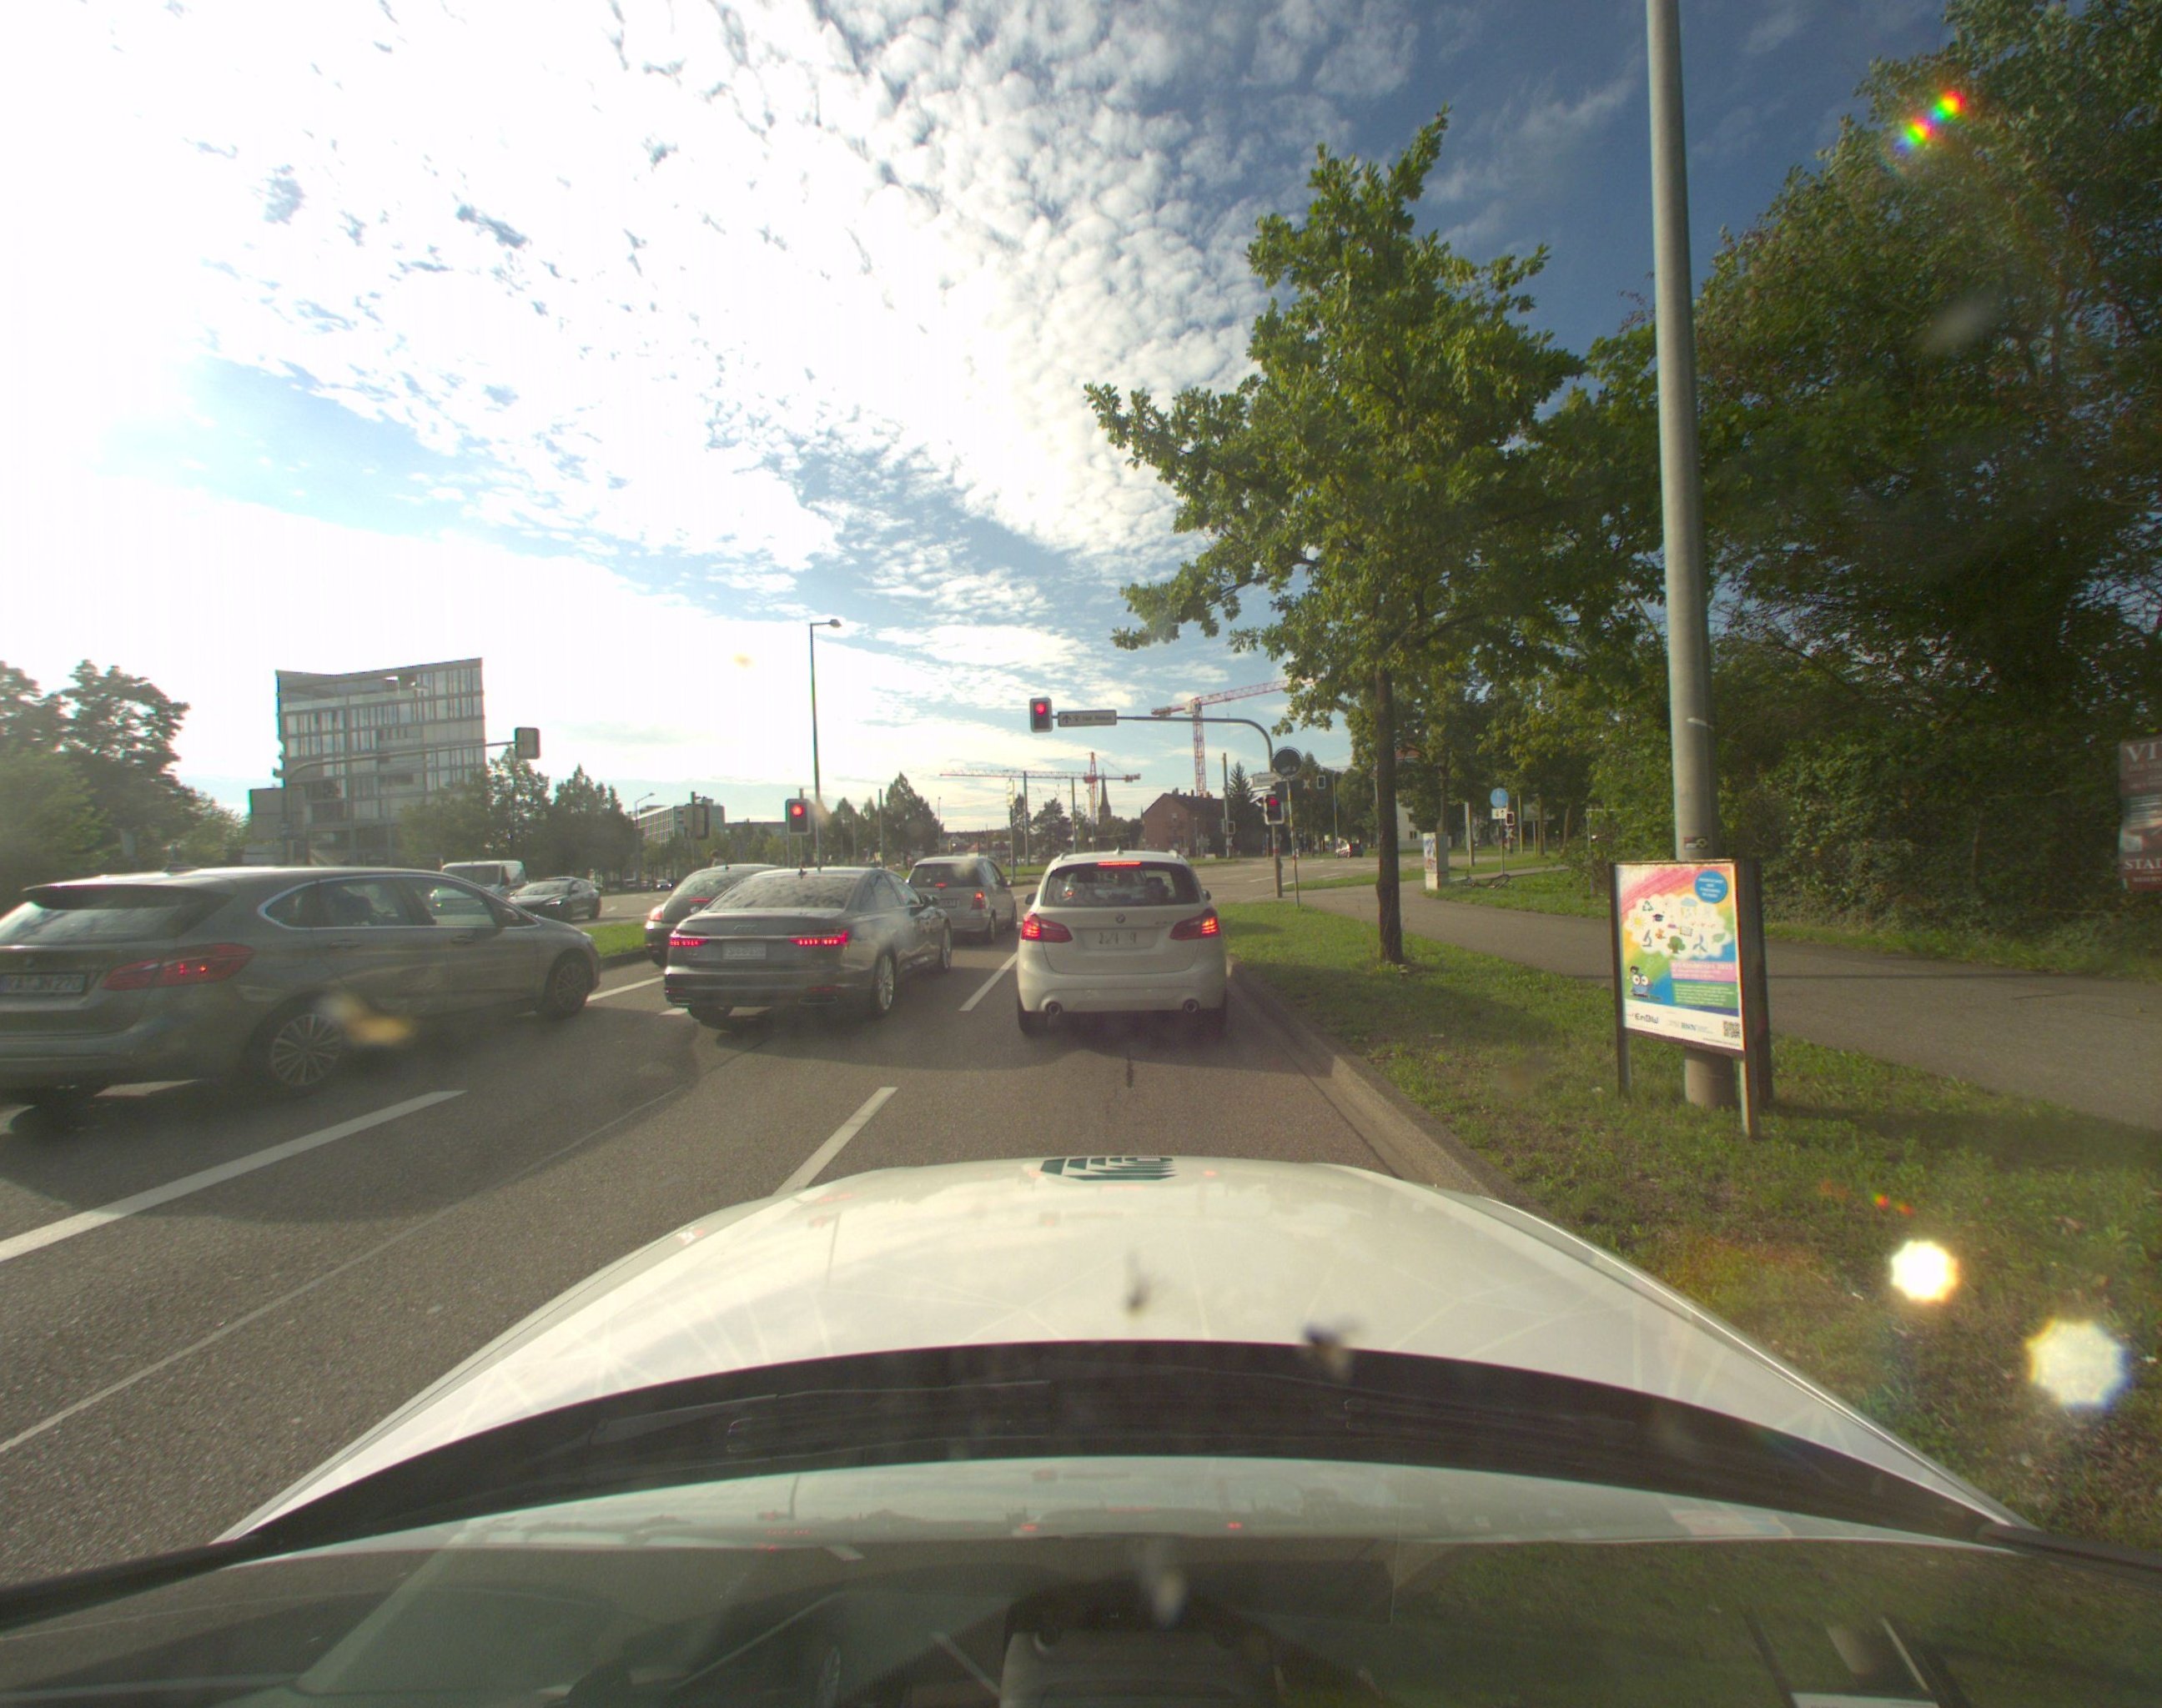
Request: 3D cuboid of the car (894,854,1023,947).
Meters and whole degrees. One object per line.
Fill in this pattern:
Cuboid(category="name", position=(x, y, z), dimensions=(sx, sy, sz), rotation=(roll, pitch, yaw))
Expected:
Cuboid(category="car", position=(-2.227, 0.791, 15.900), dimensions=(1.722, 1.558, 4.060), rotation=(-1, 0, 2))

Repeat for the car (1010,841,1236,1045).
Cuboid(category="car", position=(0.385, 0.696, 8.364), dimensions=(1.723, 1.558, 4.059), rotation=(-1, 0, 2))

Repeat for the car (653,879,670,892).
Cuboid(category="car", position=(-50.986, 3.800, 99.013), dimensions=(1.600, 1.415, 3.639), rotation=(-3, 0, -25))

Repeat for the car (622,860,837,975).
Cuboid(category="car", position=(-5.391, 0.882, 13.063), dimensions=(1.674, 1.523, 3.811), rotation=(-1, 0, 1))

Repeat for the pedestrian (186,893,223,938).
Cuboid(category="pedestrian", position=(-32.128, 2.250, 29.850), dimensions=(0.654, 1.569, 0.614), rotation=(-2, -1, -5))

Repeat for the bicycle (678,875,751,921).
Cuboid(category="bicycle", position=(-10.145, 1.201, 22.611), dimensions=(1.728, 1.163, 0.652), rotation=(-2, -1, -15))

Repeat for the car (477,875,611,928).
Cuboid(category="car", position=(-17.313, 1.472, 26.529), dimensions=(1.899, 1.410, 4.196), rotation=(-4, -1, -8))

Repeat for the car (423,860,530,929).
Cuboid(category="car", position=(-22.655, 1.472, 30.788), dimensions=(2.004, 2.235, 5.874), rotation=(-4, 0, -25))

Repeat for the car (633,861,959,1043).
Cuboid(category="car", position=(-2.742, 0.845, 9.126), dimensions=(1.883, 1.483, 4.614), rotation=(-1, -1, 2))

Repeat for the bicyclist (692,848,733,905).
Cuboid(category="bicyclist", position=(-10.213, 0.616, 22.611), dimensions=(0.850, 1.526, 0.737), rotation=(-3, -1, -15))

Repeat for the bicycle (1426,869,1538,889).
Cuboid(category="bicycle", position=(10.506, 0.643, 21.492), dimensions=(1.407, 0.385, 2.568), rotation=(-3, 0, -9))

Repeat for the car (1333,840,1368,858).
Cuboid(category="car", position=(27.286, -0.521, 82.621), dimensions=(1.577, 1.574, 3.173), rotation=(-4, 0, -23))

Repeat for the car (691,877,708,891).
Cuboid(category="car", position=(-44.590, 3.493, 95.246), dimensions=(1.623, 1.464, 3.701), rotation=(-3, 0, -24))

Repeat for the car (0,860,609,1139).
Cuboid(category="car", position=(-5.984, 0.861, 6.681), dimensions=(1.722, 1.558, 4.021), rotation=(-1, 0, 2))

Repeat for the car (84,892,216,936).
Cuboid(category="car", position=(-44.053, 2.796, 38.671), dimensions=(1.690, 1.770, 4.024), rotation=(-2, -1, 44))
